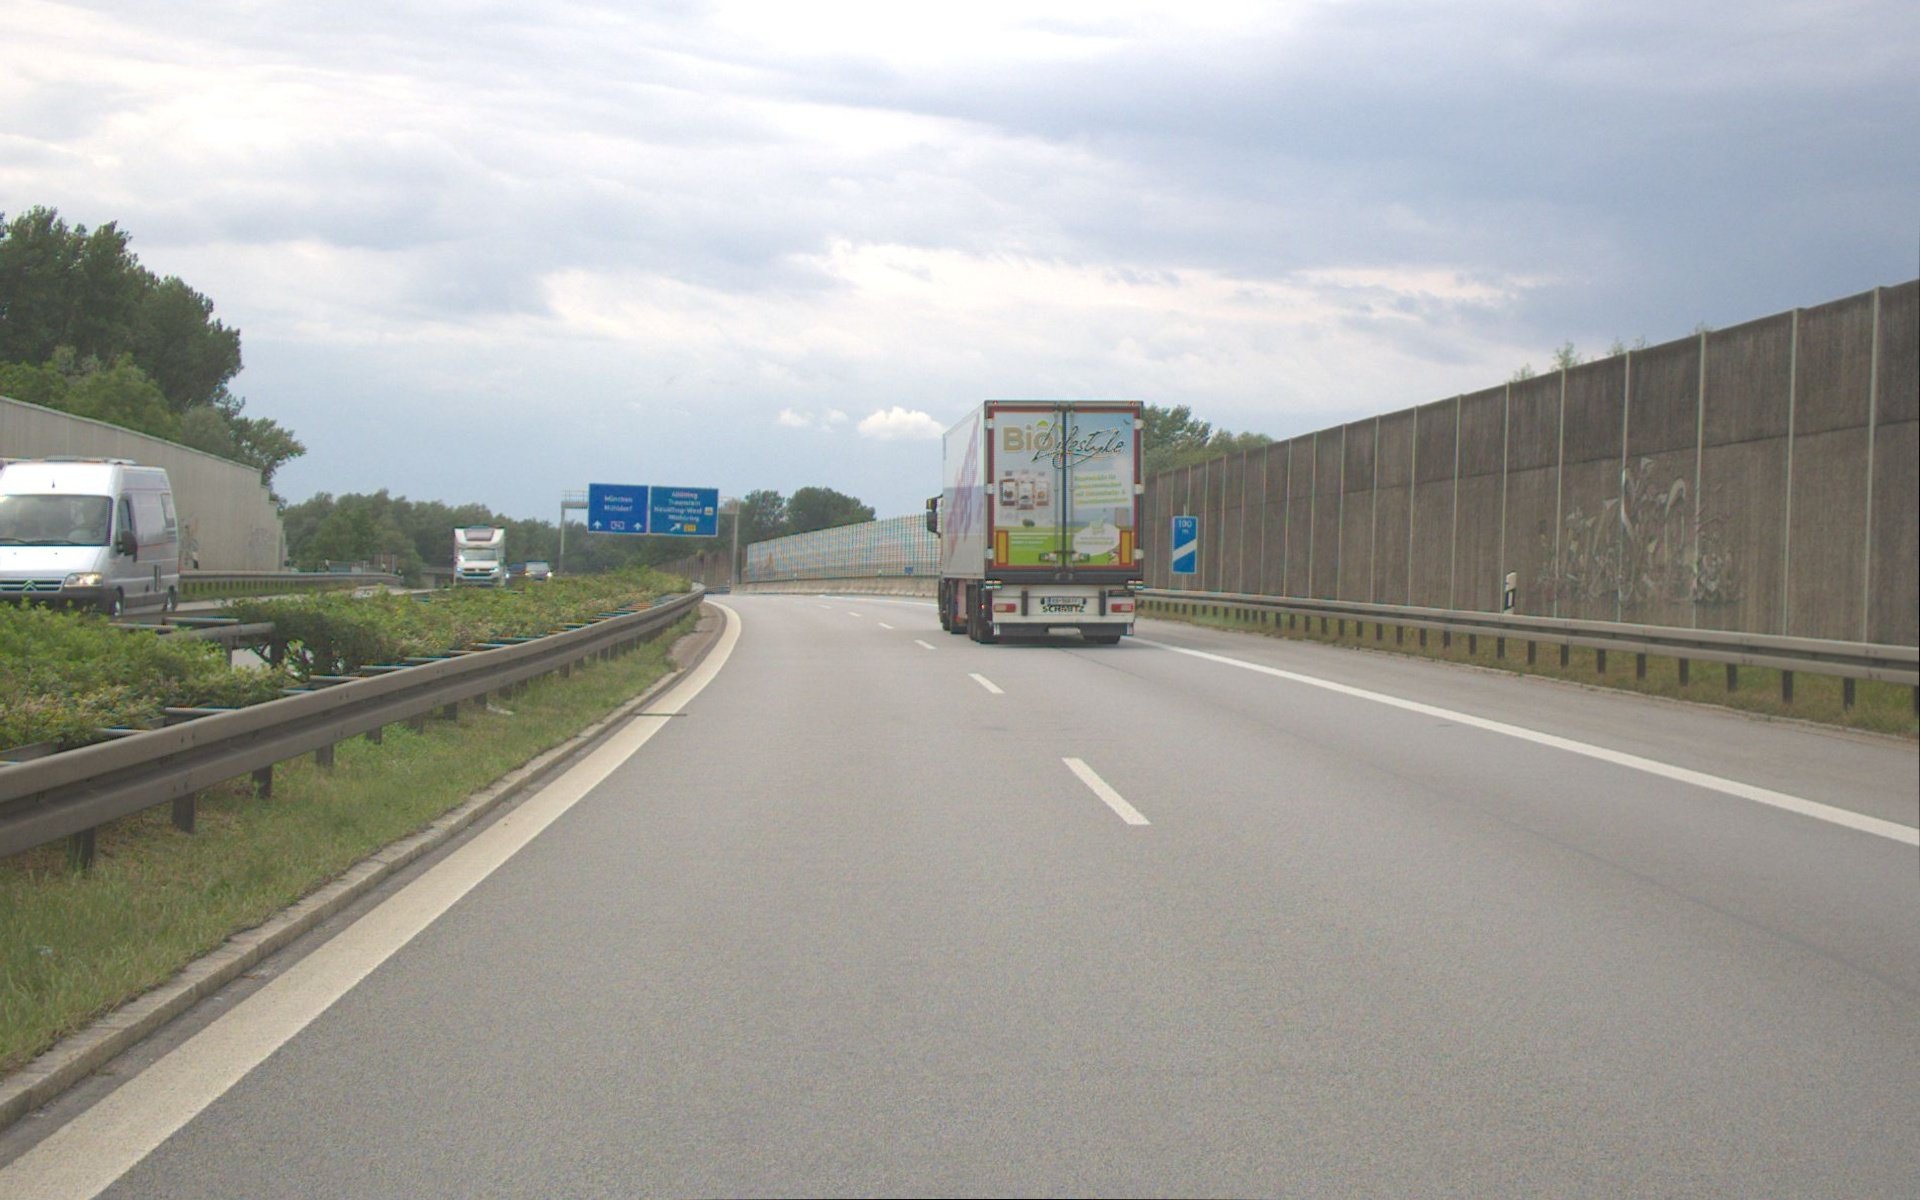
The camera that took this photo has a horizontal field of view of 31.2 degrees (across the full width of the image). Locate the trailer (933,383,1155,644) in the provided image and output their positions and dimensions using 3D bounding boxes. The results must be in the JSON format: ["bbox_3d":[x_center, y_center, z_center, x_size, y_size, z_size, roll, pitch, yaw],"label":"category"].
[{"bbox_3d":[1.300,-1.440,62.197,2.792,4.160,14.105,0,0,-3],"label":"trailer"}]

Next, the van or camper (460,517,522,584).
[{"bbox_3d":[-19.952,-2.097,146.525,2.254,2.769,5.756,1,1,-4],"label":"van or camper"}]

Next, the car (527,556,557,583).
[{"bbox_3d":[-29.751,-2.150,244.963,1.993,1.879,4.556,1,1,-6],"label":"car"}]

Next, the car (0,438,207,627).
[{"bbox_3d":[-11.999,-0.928,47.382,2.111,2.447,5.684,0,1,-1],"label":"car"}]

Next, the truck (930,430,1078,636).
[{"bbox_3d":[0.832,-1.320,69.122,2.756,3.946,5.677,0,0,-1],"label":"truck"}]
